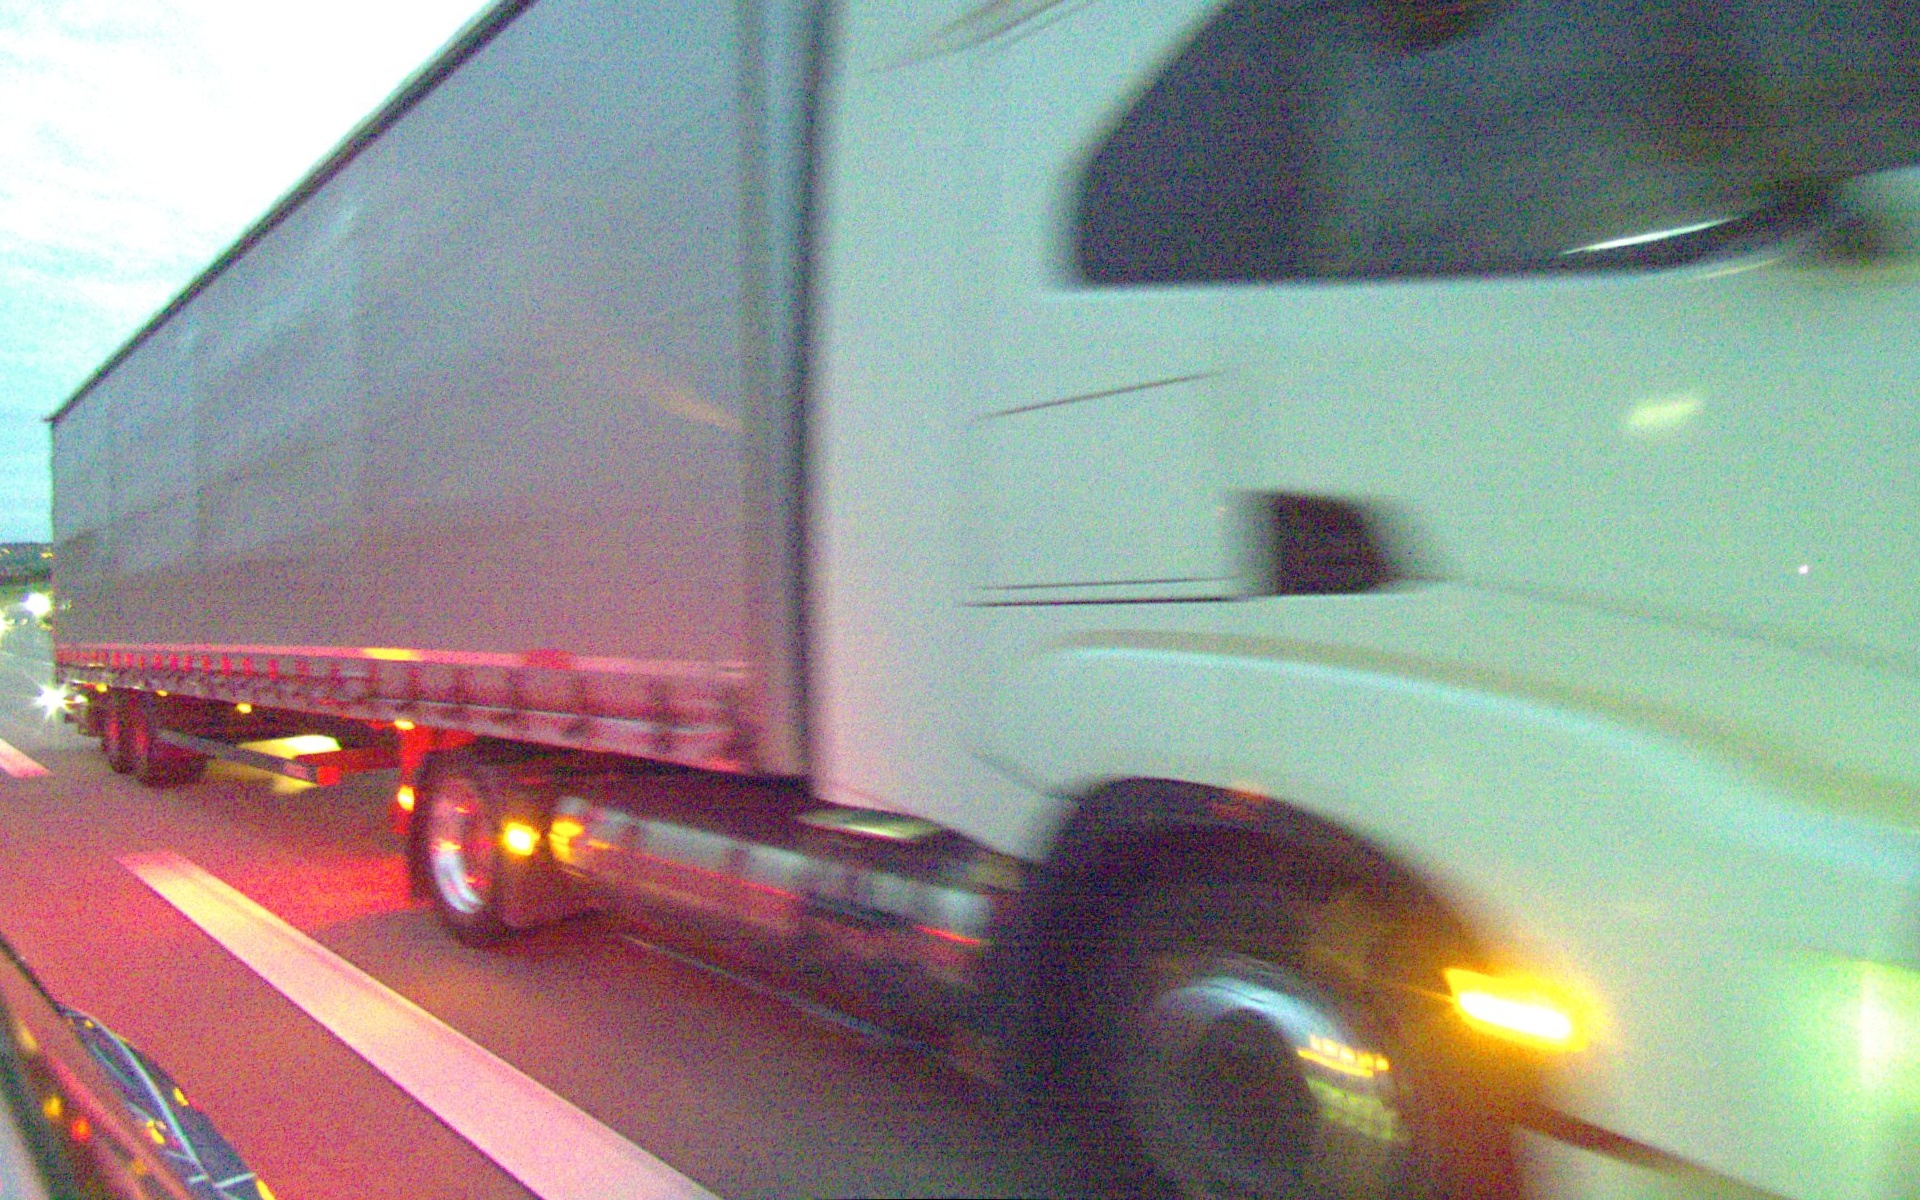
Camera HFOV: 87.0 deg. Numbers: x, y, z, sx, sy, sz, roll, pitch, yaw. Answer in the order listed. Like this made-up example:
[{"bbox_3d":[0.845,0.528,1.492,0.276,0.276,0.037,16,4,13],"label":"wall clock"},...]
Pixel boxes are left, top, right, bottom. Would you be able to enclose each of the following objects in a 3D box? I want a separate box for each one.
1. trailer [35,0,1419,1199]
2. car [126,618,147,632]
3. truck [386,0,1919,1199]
[{"bbox_3d":[-4.534,-0.371,8.161,14.812,3.945,2.745,-1,-1,41],"label":"trailer"},{"bbox_3d":[-120.414,3.711,148.038,4.002,2.029,1.971,-1,-2,45],"label":"car"},{"bbox_3d":[0.574,-0.490,3.674,6.151,3.931,2.750,-1,-1,41],"label":"truck"}]
